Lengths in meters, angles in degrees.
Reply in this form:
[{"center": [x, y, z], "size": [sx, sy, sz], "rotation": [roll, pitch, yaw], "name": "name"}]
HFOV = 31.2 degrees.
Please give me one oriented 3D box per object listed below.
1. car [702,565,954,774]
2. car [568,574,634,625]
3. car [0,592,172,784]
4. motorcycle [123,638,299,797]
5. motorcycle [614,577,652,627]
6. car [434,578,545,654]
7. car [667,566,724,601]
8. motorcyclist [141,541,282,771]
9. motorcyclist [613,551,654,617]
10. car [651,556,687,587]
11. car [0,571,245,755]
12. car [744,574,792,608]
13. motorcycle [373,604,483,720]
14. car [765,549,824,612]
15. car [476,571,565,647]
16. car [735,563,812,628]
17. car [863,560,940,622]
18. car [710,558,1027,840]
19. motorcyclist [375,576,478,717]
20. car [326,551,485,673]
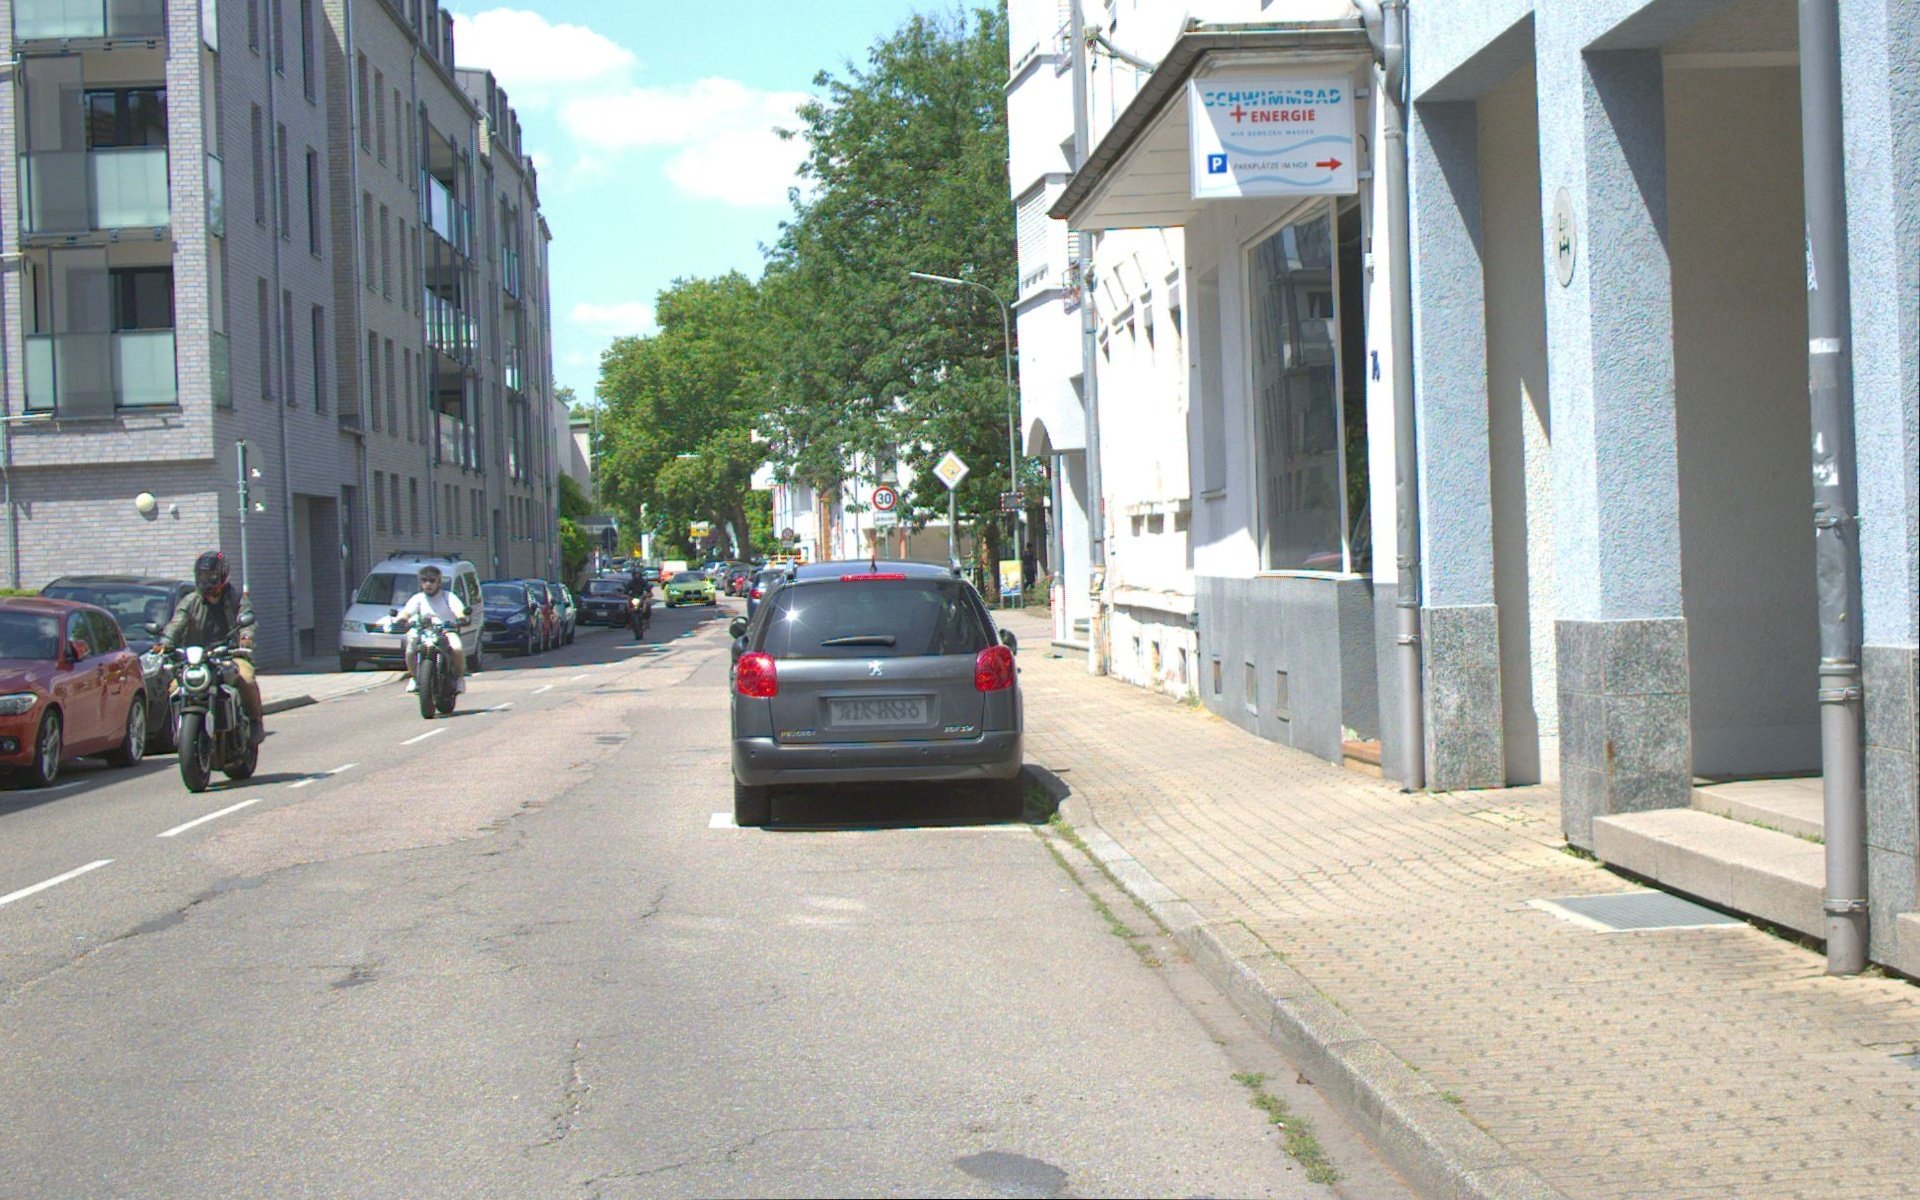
[{"center": [-1.024, 0.467, 26.477], "size": [1.729, 1.415, 4.545], "rotation": [-2, 1, -2], "name": "car"}, {"center": [-10.817, -0.022, 103.766], "size": [1.732, 1.437, 4.000], "rotation": [-2, 0, -3], "name": "car"}, {"center": [-7.903, 0.685, 28.230], "size": [1.834, 1.412, 4.290], "rotation": [-2, 1, 0], "name": "car"}, {"center": [-5.515, 0.843, 25.442], "size": [0.713, 1.025, 2.239], "rotation": [-2, 1, 1], "name": "motorcycle"}, {"center": [-7.580, 0.033, 79.778], "size": [0.688, 1.118, 2.028], "rotation": [-2, 1, -1], "name": "motorcycle"}, {"center": [-9.359, 0.289, 68.582], "size": [1.723, 1.451, 4.005], "rotation": [0, 0, -1], "name": "car"}, {"center": [-10.572, -0.675, 137.789], "size": [1.993, 1.376, 4.393], "rotation": [0, 1, 0], "name": "car"}, {"center": [-5.514, 0.397, 25.387], "size": [0.713, 1.629, 1.069], "rotation": [-2, 1, 1], "name": "motorcyclist"}, {"center": [-7.567, -0.371, 79.662], "size": [0.822, 1.504, 1.057], "rotation": [-2, 1, -1], "name": "motorcyclist"}, {"center": [-19.261, -1.891, 227.740], "size": [2.156, 2.007, 4.001], "rotation": [-2, 1, -7], "name": "car"}, {"center": [-8.154, 0.554, 33.106], "size": [1.794, 1.641, 3.945], "rotation": [-1, 1, -1], "name": "car"}, {"center": [-9.443, -0.448, 168.904], "size": [1.993, 1.612, 4.001], "rotation": [-1, 0, -8], "name": "car"}, {"center": [-5.745, 0.649, 37.274], "size": [0.896, 1.172, 2.208], "rotation": [-2, 1, -2], "name": "motorcycle"}, {"center": [-5.537, -0.677, 115.187], "size": [1.839, 2.007, 4.000], "rotation": [-2, 1, -2], "name": "car"}, {"center": [-9.409, 0.181, 73.828], "size": [1.590, 1.548, 3.571], "rotation": [-1, 1, -3], "name": "car"}, {"center": [-4.408, -0.126, 81.713], "size": [1.715, 1.397, 4.001], "rotation": [-2, 1, -2], "name": "car"}, {"center": [-1.496, -0.237, 86.839], "size": [1.692, 1.415, 4.000], "rotation": [-4, 1, -3], "name": "car"}, {"center": [-0.642, 0.530, 21.024], "size": [1.709, 1.503, 4.001], "rotation": [-2, 1, -4], "name": "car"}, {"center": [-5.757, 0.490, 37.159], "size": [0.916, 1.475, 1.203], "rotation": [-2, 1, -2], "name": "motorcyclist"}, {"center": [-8.965, 0.152, 55.854], "size": [1.757, 1.885, 4.336], "rotation": [1, 1, 2], "name": "car"}]
